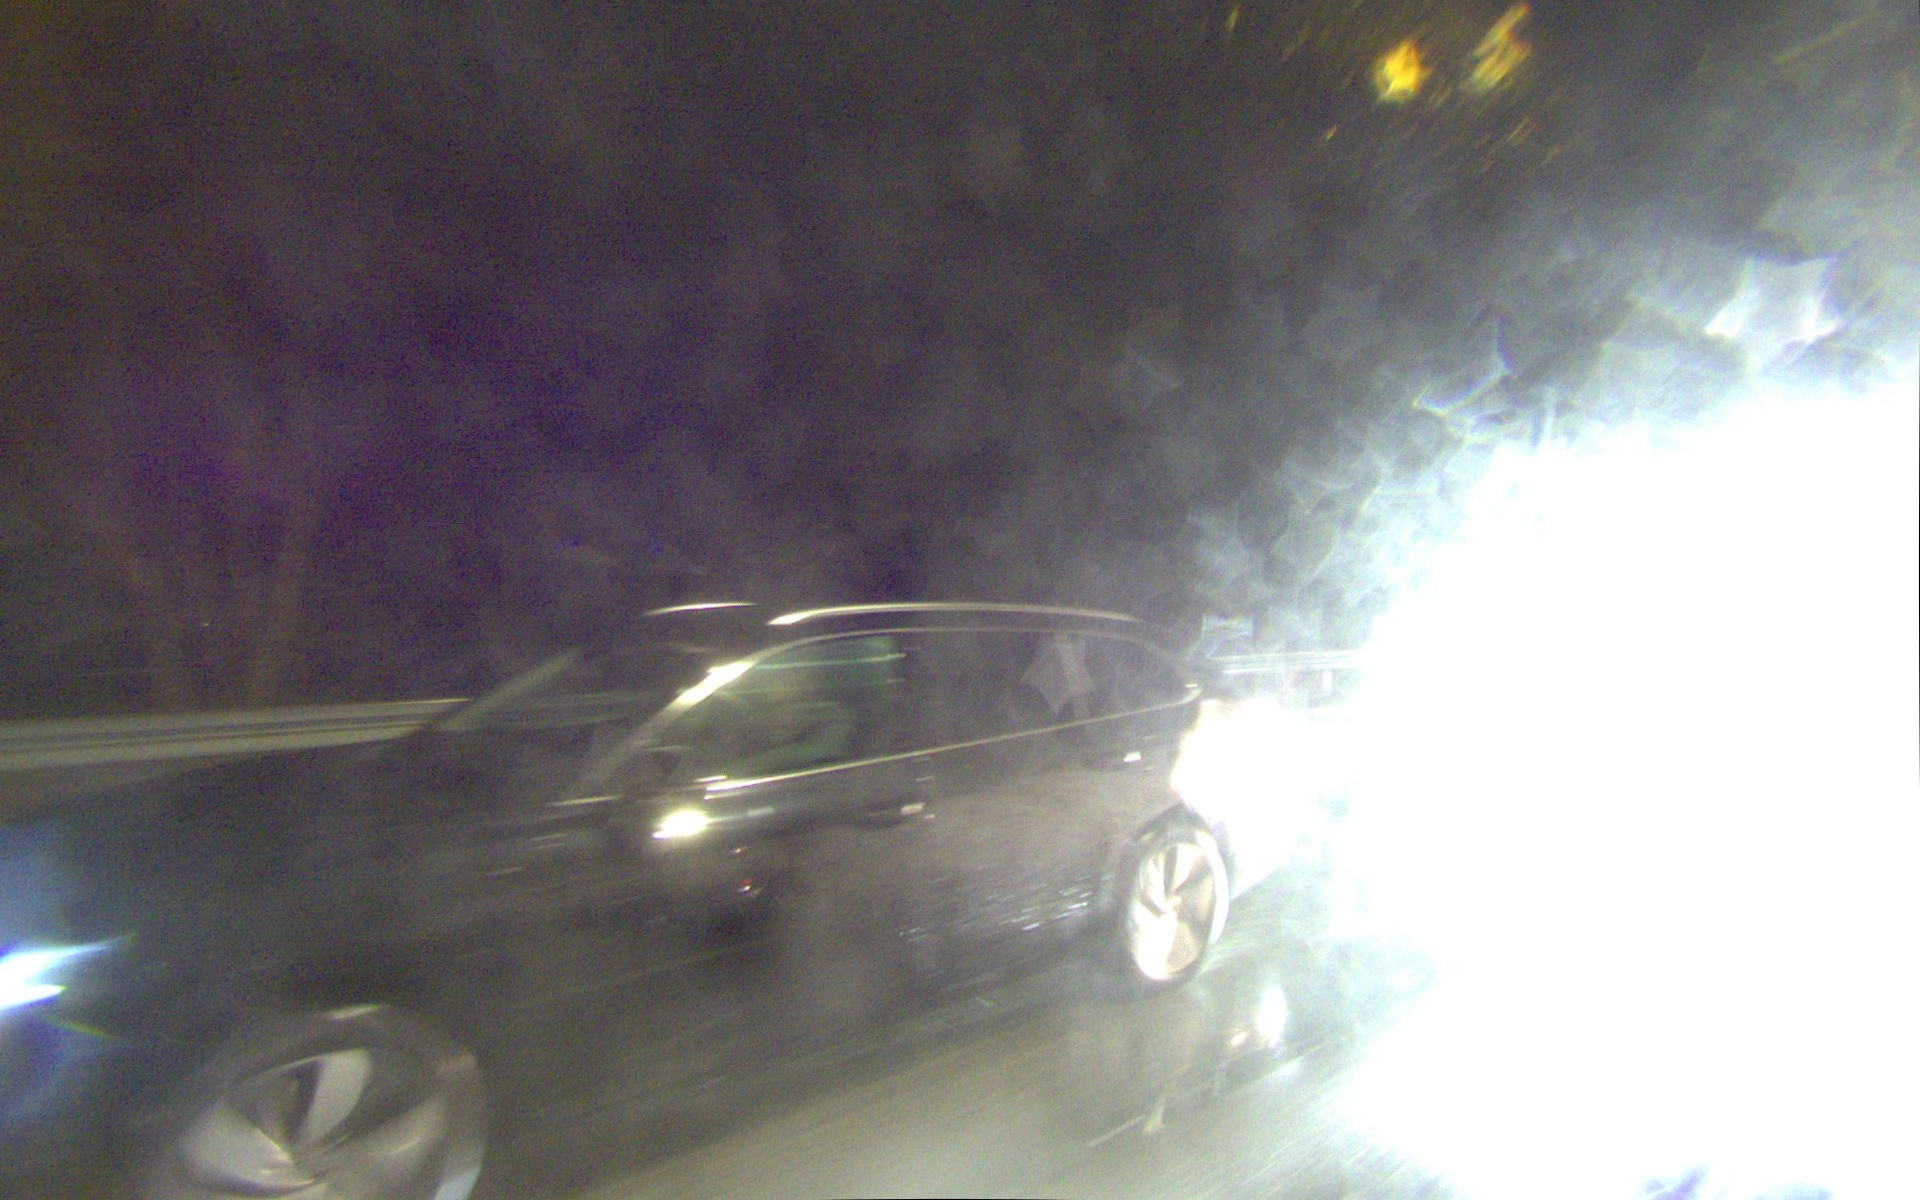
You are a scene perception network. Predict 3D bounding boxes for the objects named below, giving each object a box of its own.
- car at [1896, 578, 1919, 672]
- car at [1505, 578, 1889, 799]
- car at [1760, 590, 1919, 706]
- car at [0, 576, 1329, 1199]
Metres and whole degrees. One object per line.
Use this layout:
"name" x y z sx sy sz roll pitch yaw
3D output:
"car" 18.708 0.417 18.323 4.313 1.618 1.998 -1 1 -39
"car" 6.796 0.596 9.161 4.334 1.541 1.711 -1 0 -38
"car" 13.300 0.592 14.689 4.065 1.435 1.743 -1 0 -38
"car" -0.698 0.728 3.583 4.478 1.525 1.676 -1 -1 -39
